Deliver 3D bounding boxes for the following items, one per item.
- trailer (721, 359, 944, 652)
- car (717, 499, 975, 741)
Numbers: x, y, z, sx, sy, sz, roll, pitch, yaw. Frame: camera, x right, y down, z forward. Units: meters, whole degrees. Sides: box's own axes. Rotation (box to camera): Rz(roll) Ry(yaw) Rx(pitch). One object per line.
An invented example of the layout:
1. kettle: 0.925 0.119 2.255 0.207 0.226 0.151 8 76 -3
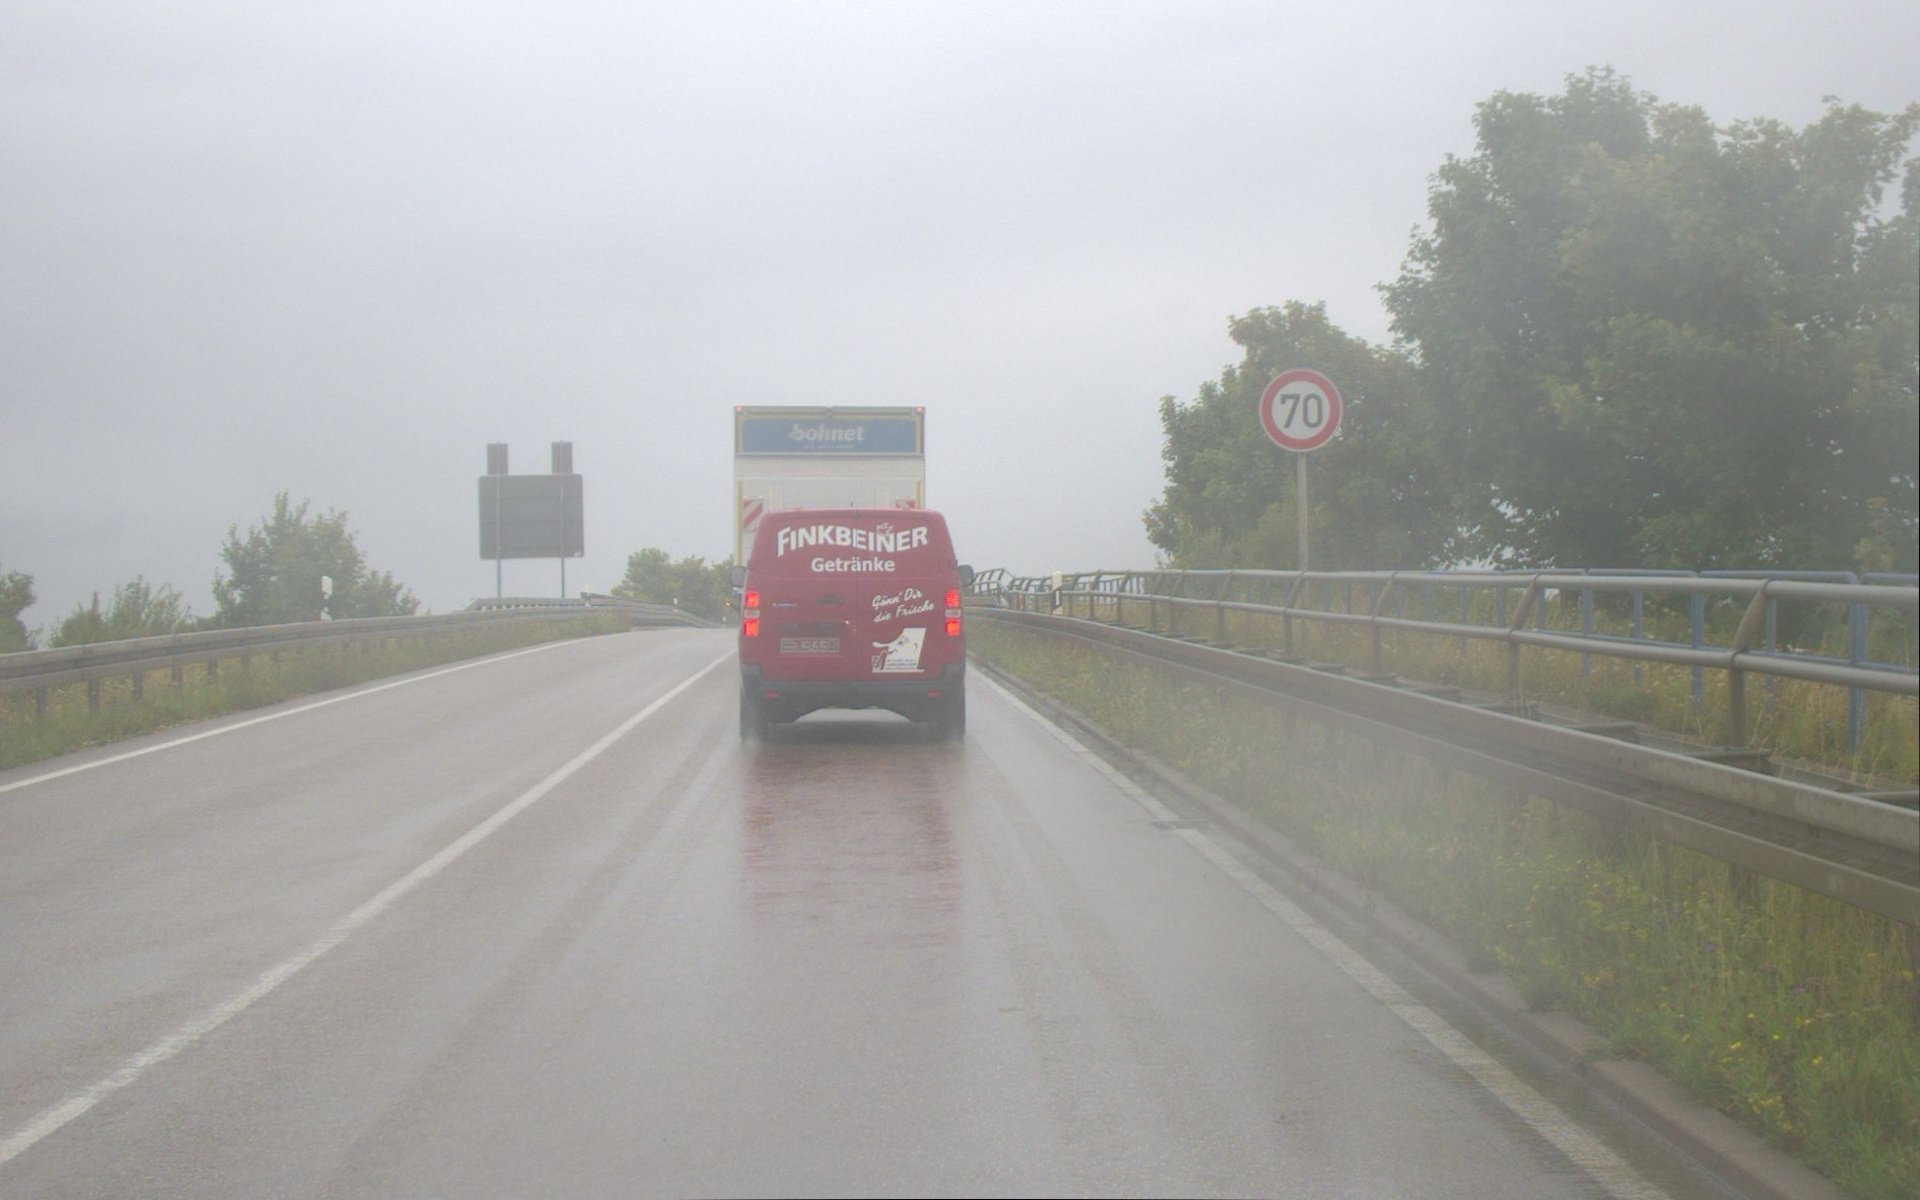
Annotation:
1. trailer: -1.701 -1.230 50.141 2.832 3.806 9.714 -1 0 0
2. car: -0.925 0.145 29.756 1.993 1.864 4.979 -2 0 0
